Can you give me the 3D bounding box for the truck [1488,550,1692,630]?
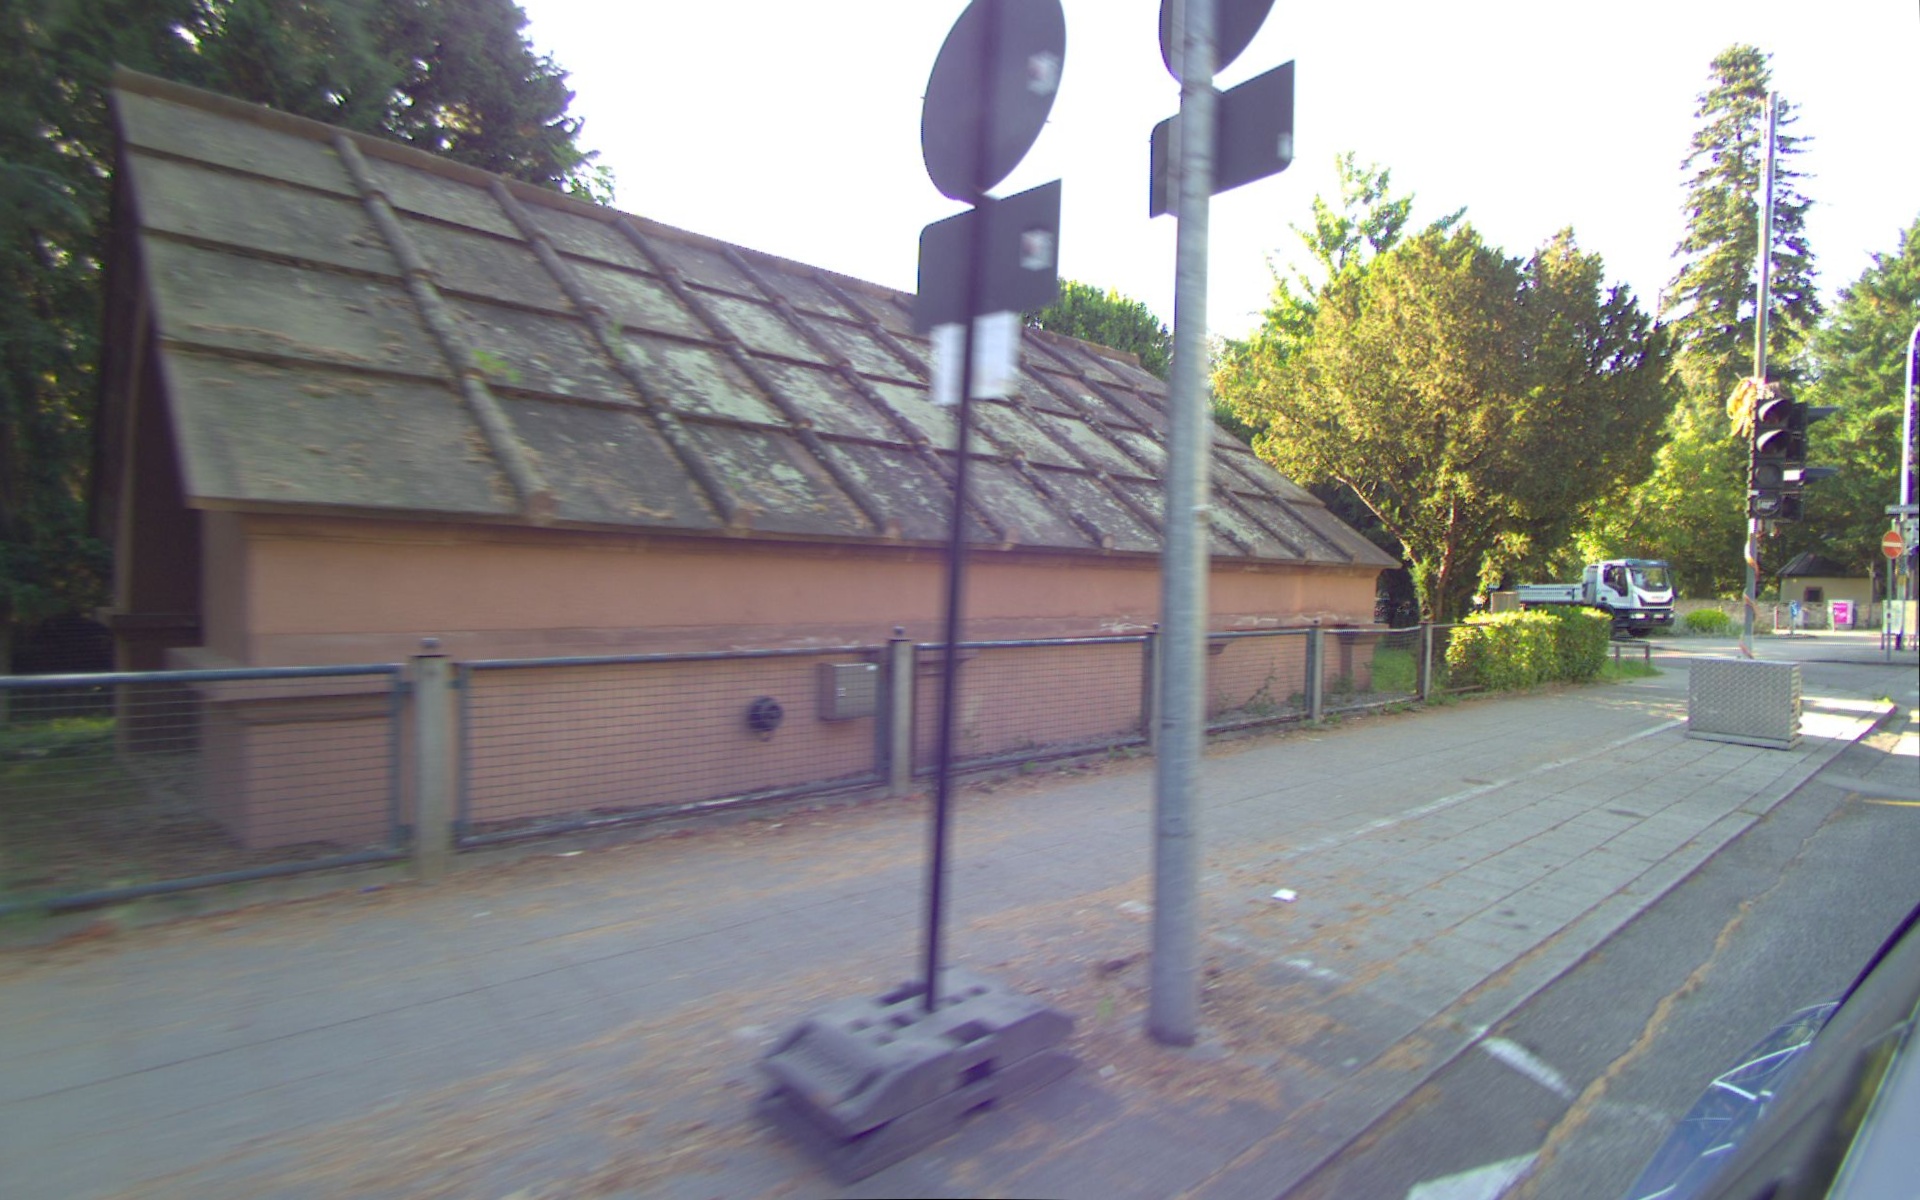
[{"bbox_3d":[23.912,-0.351,38.836,2.321,2.787,6.524,0,0,-21],"label":"truck"}]
